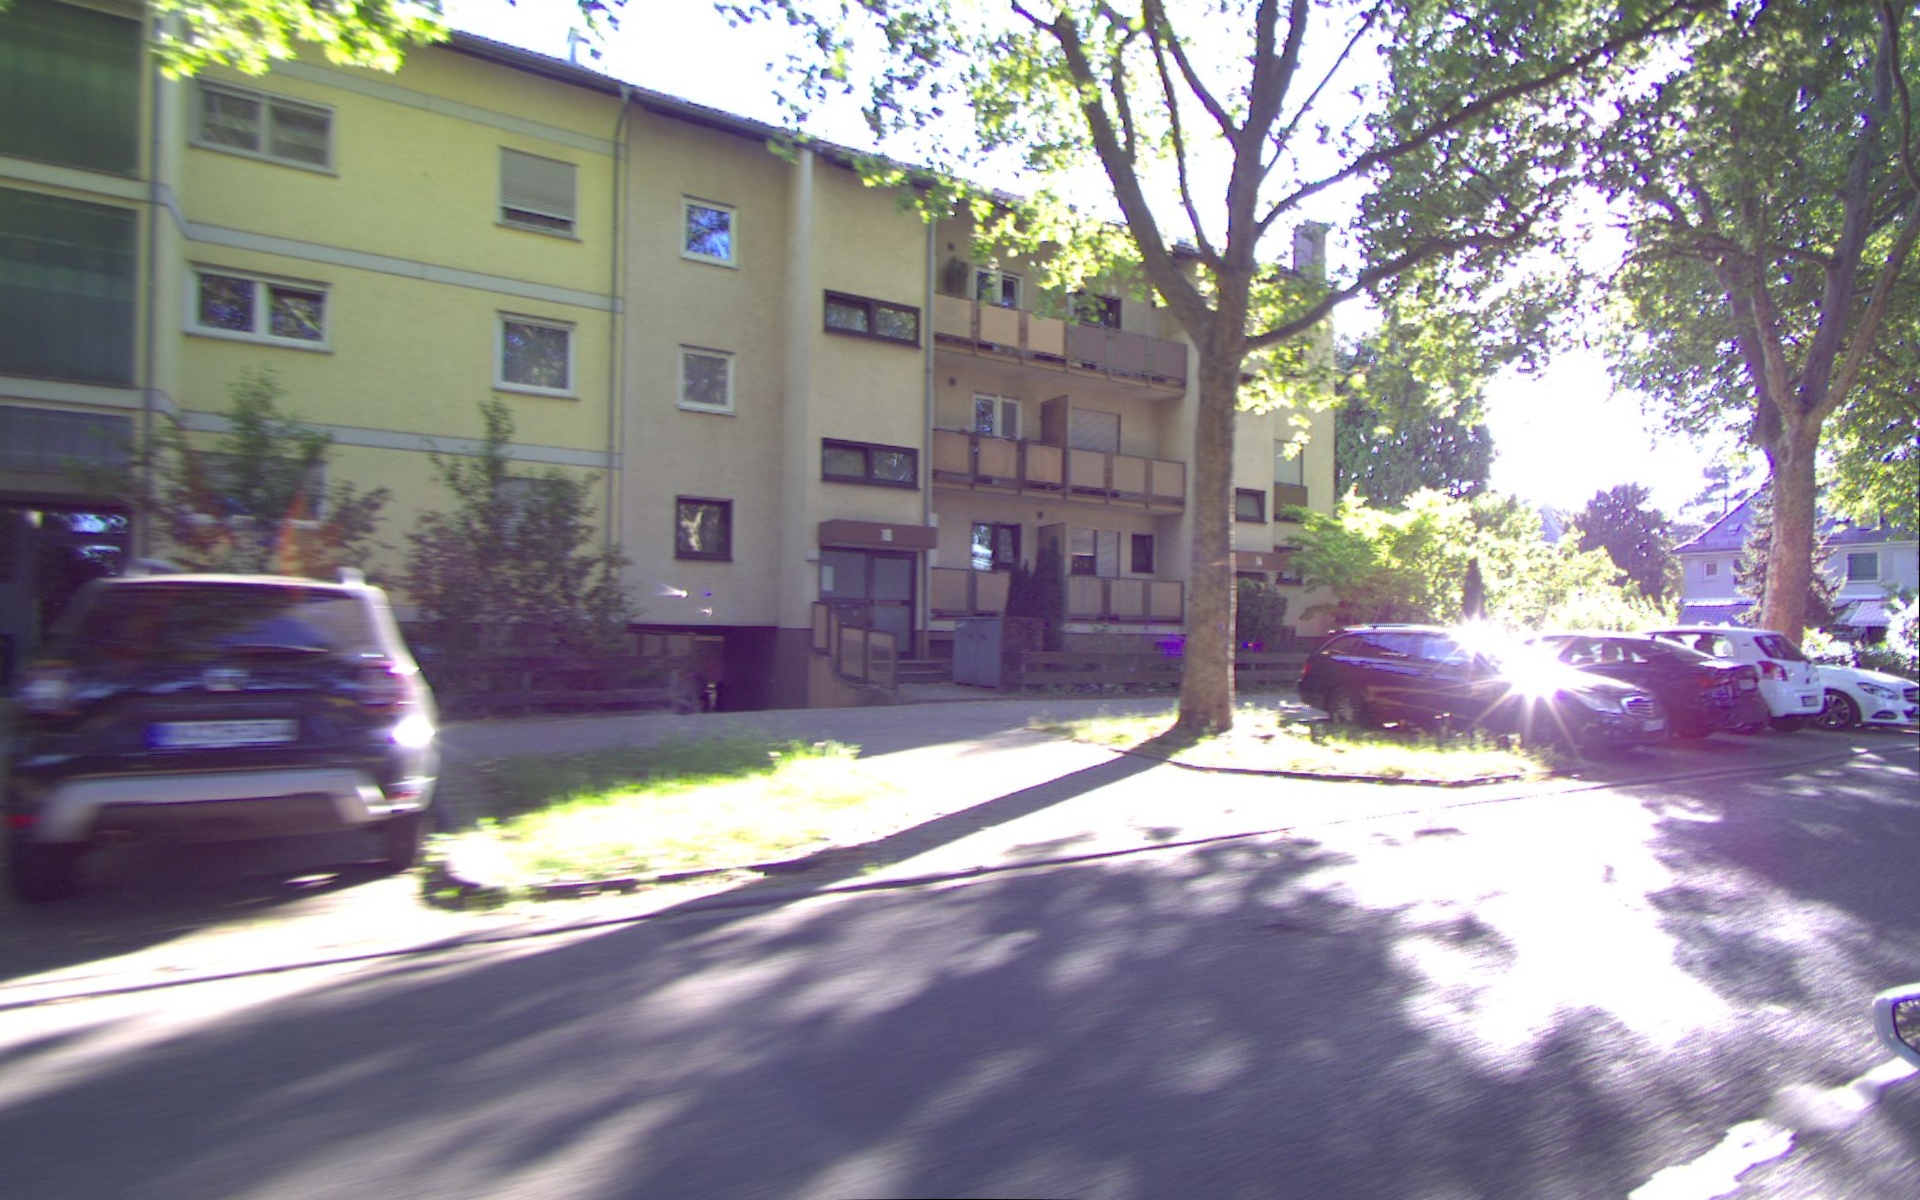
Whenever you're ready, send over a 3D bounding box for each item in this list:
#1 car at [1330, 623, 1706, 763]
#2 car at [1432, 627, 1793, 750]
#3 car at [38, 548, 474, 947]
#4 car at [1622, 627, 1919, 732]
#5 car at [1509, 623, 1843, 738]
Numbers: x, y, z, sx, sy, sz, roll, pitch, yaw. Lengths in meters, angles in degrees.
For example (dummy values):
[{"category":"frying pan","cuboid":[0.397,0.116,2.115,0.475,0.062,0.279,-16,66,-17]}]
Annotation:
[{"category":"car","cuboid":[7.052,1.069,13.105,1.760,1.490,3.967,1,-1,-31]},{"category":"car","cuboid":[9.130,1.140,14.365,1.790,1.443,3.962,1,-1,-34]},{"category":"car","cuboid":[-4.268,0.679,6.557,1.651,1.702,4.224,1,-1,-30]},{"category":"car","cuboid":[13.801,1.242,17.028,1.787,1.490,3.970,1,-1,-28]},{"category":"car","cuboid":[11.172,1.163,15.951,1.788,1.540,3.967,1,-1,-31]}]
